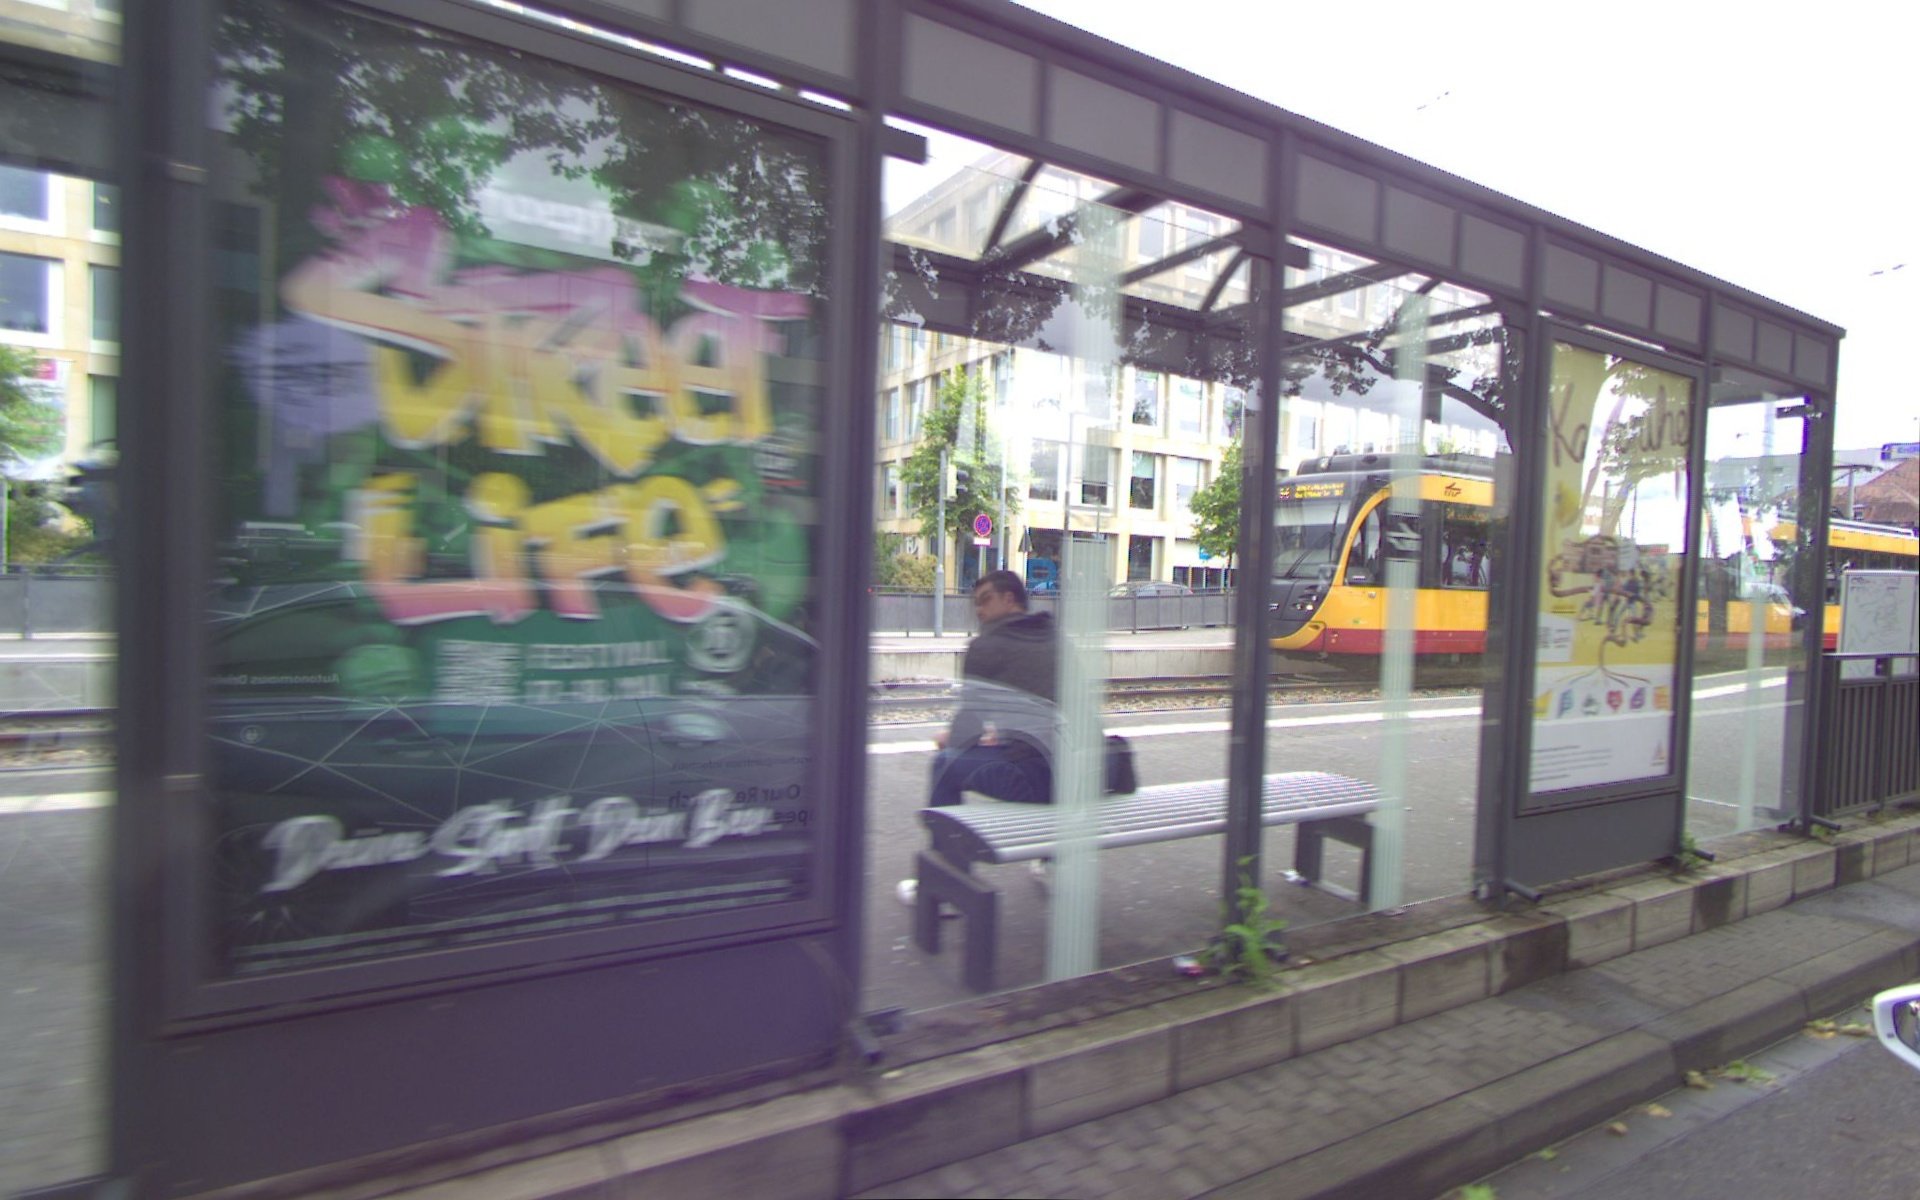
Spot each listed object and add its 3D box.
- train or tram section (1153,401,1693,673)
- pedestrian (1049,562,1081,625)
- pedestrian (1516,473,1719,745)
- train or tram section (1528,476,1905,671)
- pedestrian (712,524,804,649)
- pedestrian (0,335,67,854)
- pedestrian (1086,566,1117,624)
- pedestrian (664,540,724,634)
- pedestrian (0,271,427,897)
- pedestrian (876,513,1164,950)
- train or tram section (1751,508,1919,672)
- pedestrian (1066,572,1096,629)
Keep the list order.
[{"bbox_3d":[9.002,-0.777,18.715,11.179,3.913,3.221,2,1,-30],"label":"train or tram section"},{"bbox_3d":[3.495,-0.220,33.556,0.717,2.040,0.709,2,1,-31],"label":"pedestrian"},{"bbox_3d":[5.329,0.066,8.184,0.830,2.040,1.053,2,1,-30],"label":"pedestrian"},{"bbox_3d":[18.637,-0.402,24.387,11.179,3.913,3.148,2,1,-31],"label":"train or tram section"},{"bbox_3d":[-3.078,-0.191,15.278,1.147,1.819,0.707,2,1,-32],"label":"pedestrian"},{"bbox_3d":[-3.867,-0.033,3.484,1.105,1.817,0.663,2,1,-44],"label":"pedestrian"},{"bbox_3d":[5.036,-0.176,35.703,0.717,2.040,0.709,2,1,-31],"label":"pedestrian"},{"bbox_3d":[-5.960,-0.289,22.481,1.021,2.040,0.928,2,1,-32],"label":"pedestrian"},{"bbox_3d":[-2.573,-0.036,3.515,1.104,1.817,0.664,2,1,-39],"label":"pedestrian"},{"bbox_3d":[0.181,0.394,3.546,0.606,1.321,0.830,2,1,-31],"label":"pedestrian"},{"bbox_3d":[29.265,-0.083,30.732,13.462,4.234,3.164,2,1,-31],"label":"train or tram section"},{"bbox_3d":[4.409,0.029,36.682,0.717,2.040,0.709,2,1,-31],"label":"pedestrian"}]
